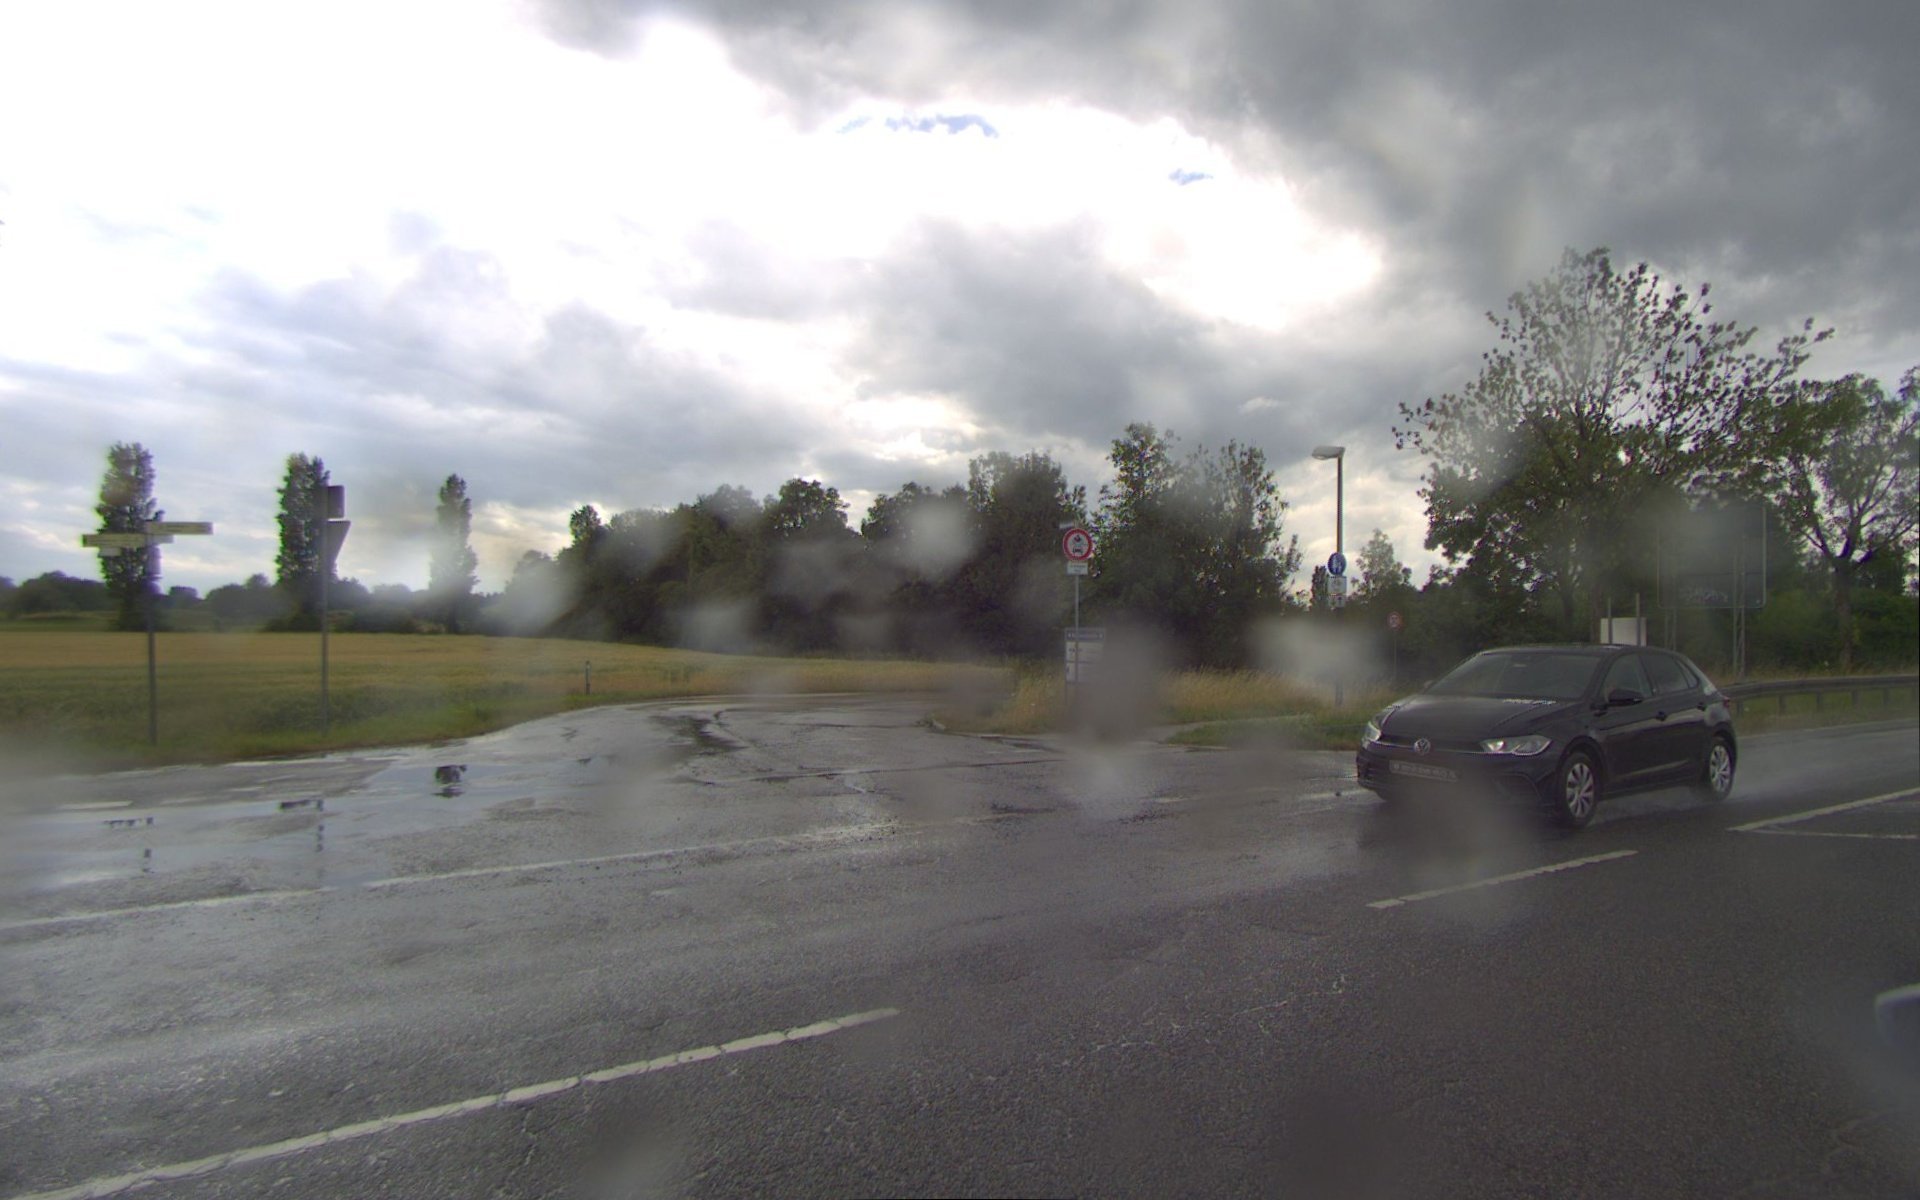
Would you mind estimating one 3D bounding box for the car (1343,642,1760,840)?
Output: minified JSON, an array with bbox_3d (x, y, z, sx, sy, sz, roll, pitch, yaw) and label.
[{"bbox_3d":[5.360,1.089,9.002,3.772,1.424,1.703,1,-3,-33],"label":"car"}]
